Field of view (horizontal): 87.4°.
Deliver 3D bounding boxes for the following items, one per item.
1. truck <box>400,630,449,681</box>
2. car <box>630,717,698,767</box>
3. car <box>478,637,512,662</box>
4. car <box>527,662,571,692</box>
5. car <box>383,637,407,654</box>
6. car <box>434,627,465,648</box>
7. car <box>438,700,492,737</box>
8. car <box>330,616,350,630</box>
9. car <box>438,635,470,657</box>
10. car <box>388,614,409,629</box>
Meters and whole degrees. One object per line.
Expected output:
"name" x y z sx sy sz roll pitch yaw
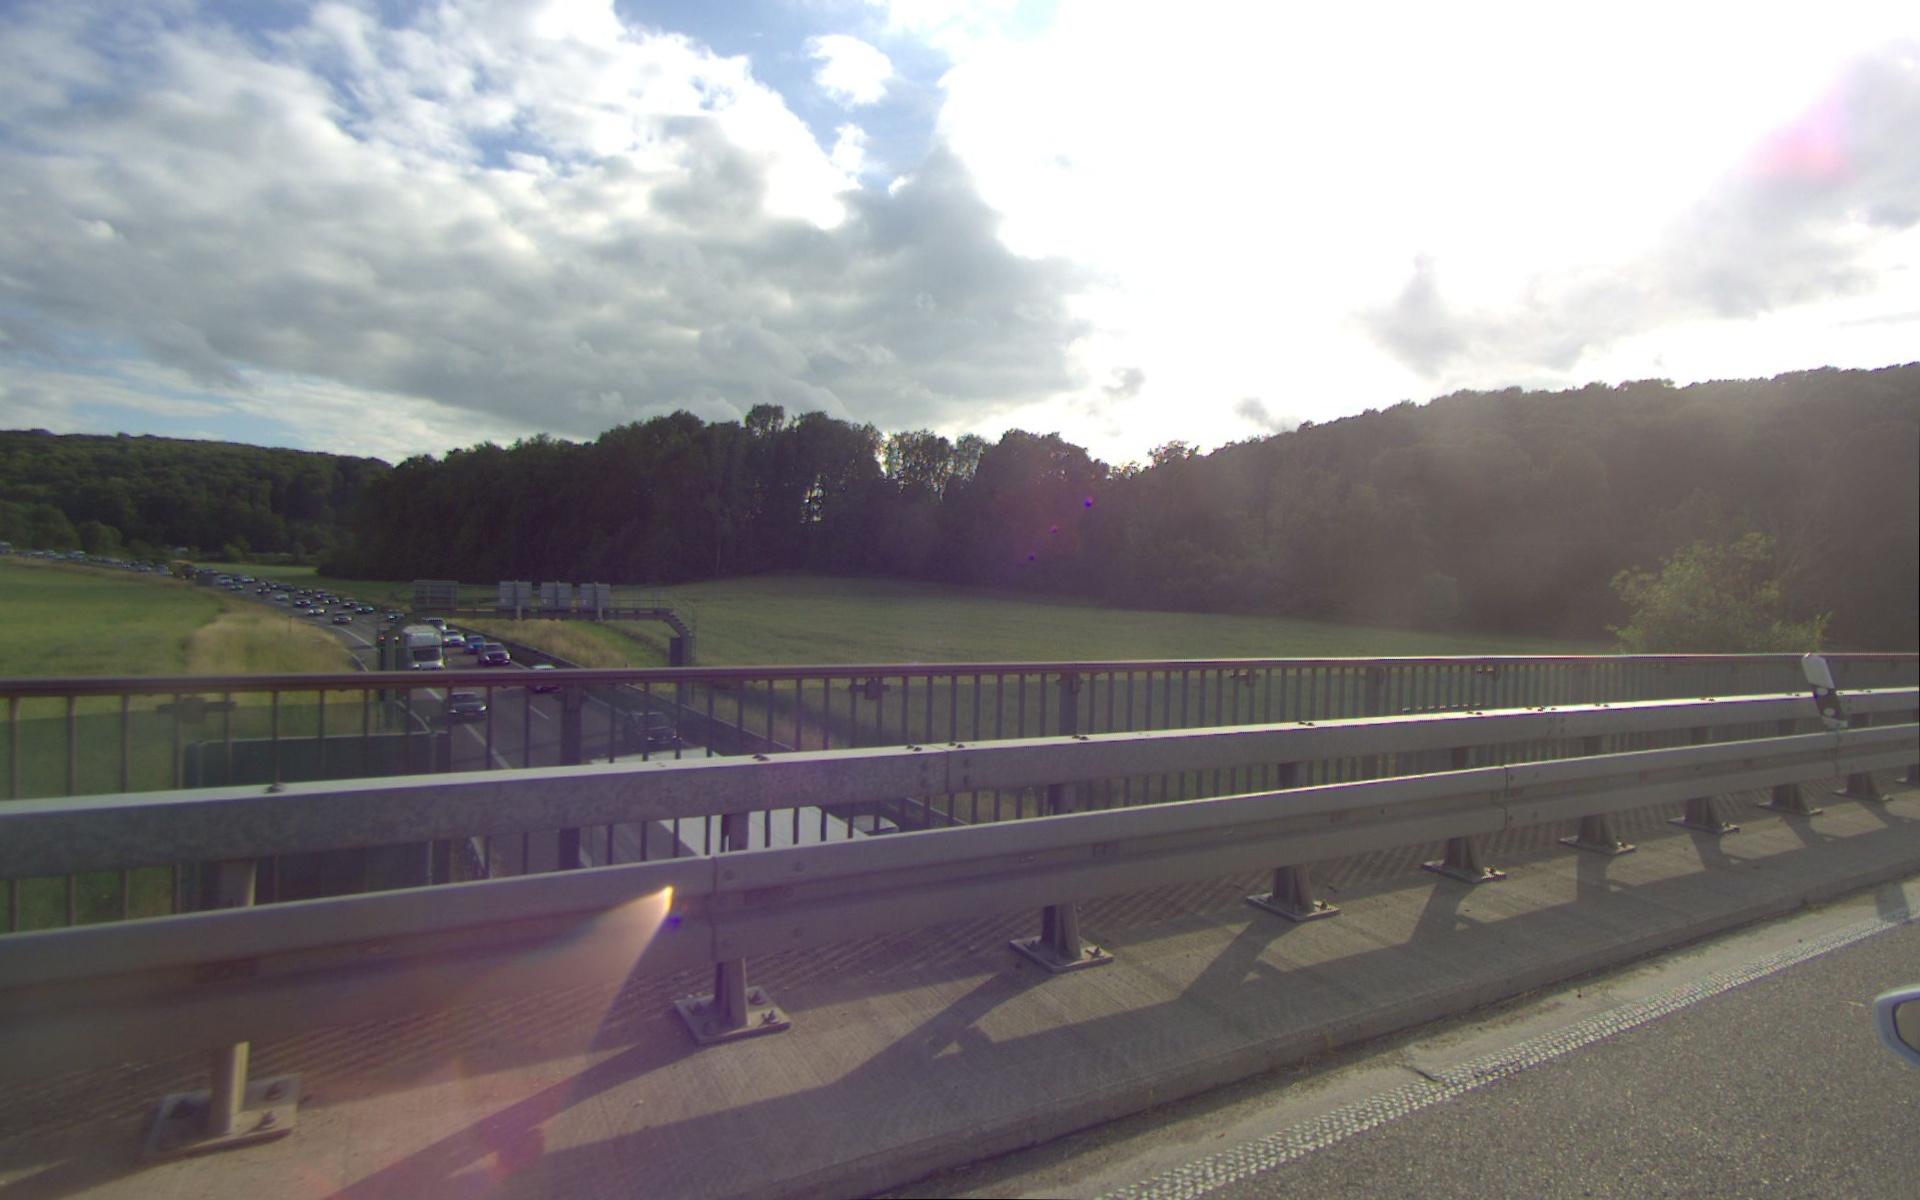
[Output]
"truck" -39.513 3.977 73.980 2.103 3.450 8.412 2 -2 -35
"car" -13.019 6.155 44.037 1.805 1.555 3.964 3 0 -32
"car" -36.834 3.913 79.582 1.810 1.672 3.962 2 0 -34
"car" -26.230 4.894 64.059 1.810 1.671 3.962 2 -2 -34
"car" -54.269 4.350 96.471 1.698 1.350 3.962 2 0 -33
"car" -51.974 3.760 102.225 1.983 1.750 3.958 7 -2 -36
"car" -26.128 6.188 52.916 1.970 1.736 3.963 3 -5 -35
"car" -76.666 2.828 124.174 1.811 1.462 3.959 2 0 -36
"car" -48.197 4.375 95.593 1.983 1.750 3.958 7 -2 -36
"car" -71.070 2.751 127.137 1.786 1.608 3.958 3 1 -36
